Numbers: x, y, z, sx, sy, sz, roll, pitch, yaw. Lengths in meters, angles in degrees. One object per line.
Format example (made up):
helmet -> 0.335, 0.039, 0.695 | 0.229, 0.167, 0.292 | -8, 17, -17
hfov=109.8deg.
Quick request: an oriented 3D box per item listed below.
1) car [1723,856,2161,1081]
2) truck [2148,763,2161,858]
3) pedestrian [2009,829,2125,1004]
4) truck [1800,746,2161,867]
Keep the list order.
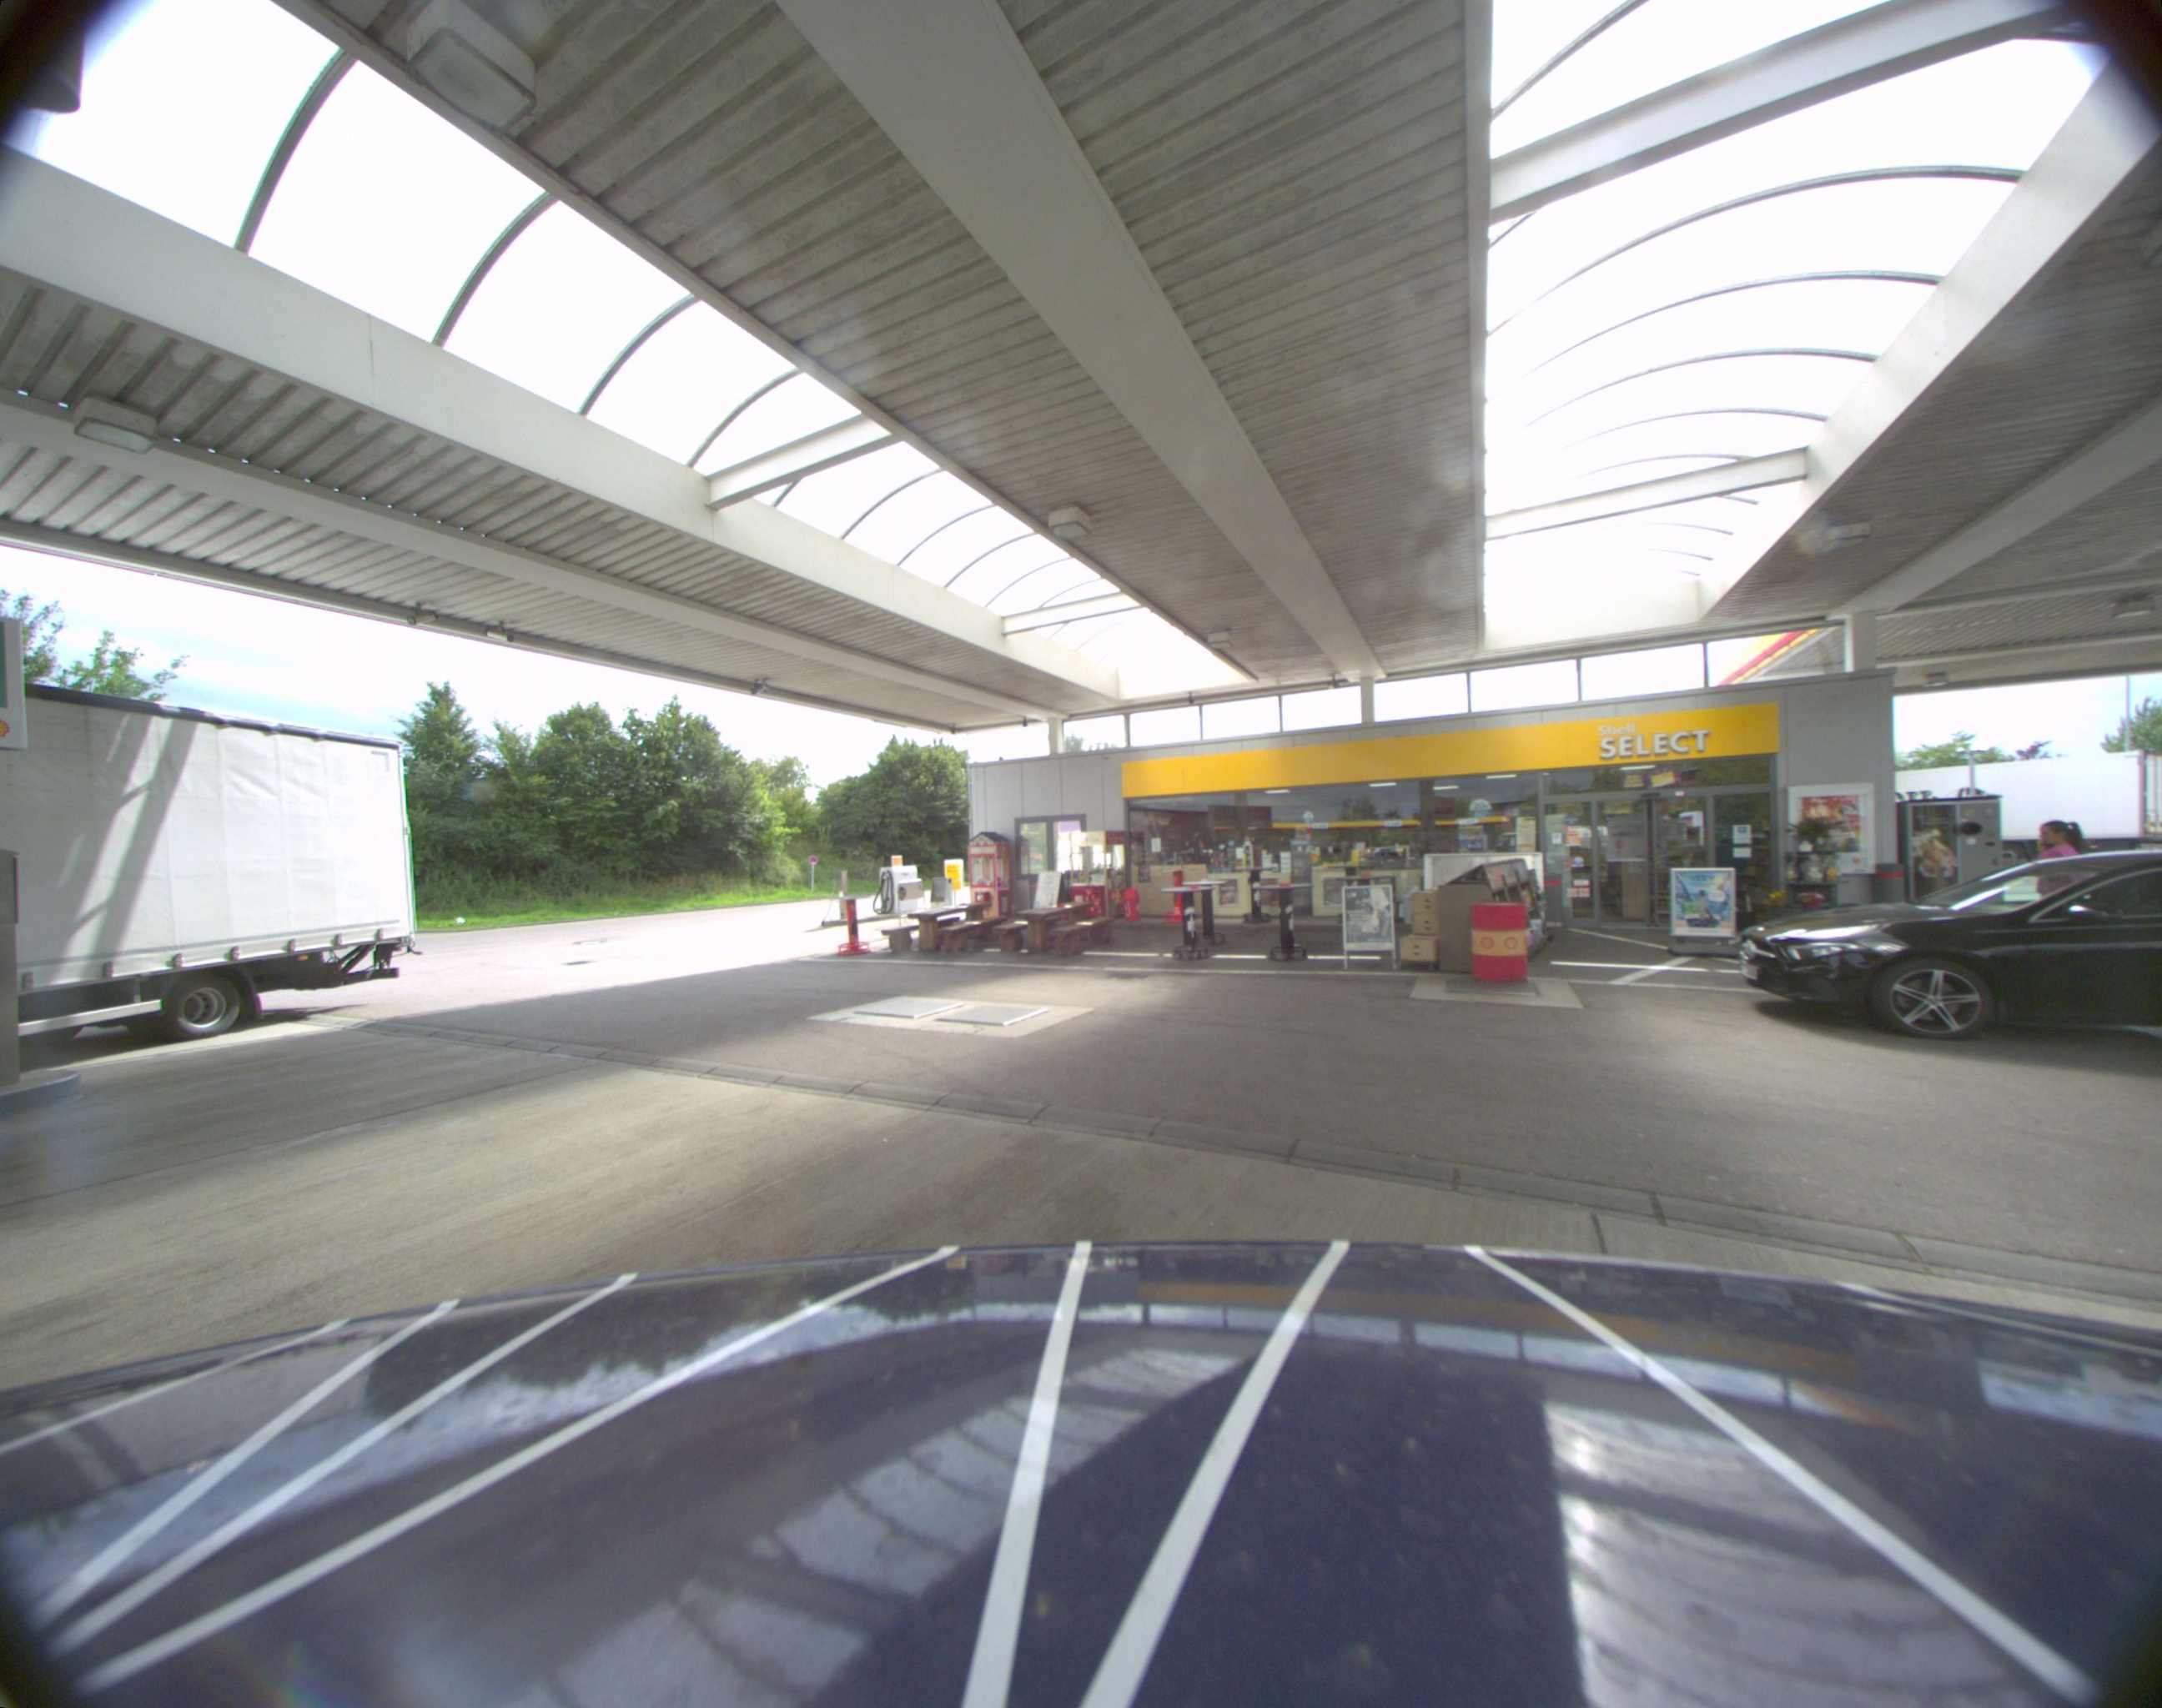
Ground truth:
car -> 8.147, 0.808, 5.962 | 4.461, 1.491, 1.782 | -2, 1, 28
truck -> 51.468, -2.050, 33.121 | 3.383, 4.479, 6.239 | -2, 1, 29
pedestrian -> 10.178, 0.612, 7.869 | 0.621, 1.703, 0.628 | -1, 2, 43
truck -> 35.119, -1.621, 30.043 | 2.796, 3.982, 9.578 | -3, 1, -16
